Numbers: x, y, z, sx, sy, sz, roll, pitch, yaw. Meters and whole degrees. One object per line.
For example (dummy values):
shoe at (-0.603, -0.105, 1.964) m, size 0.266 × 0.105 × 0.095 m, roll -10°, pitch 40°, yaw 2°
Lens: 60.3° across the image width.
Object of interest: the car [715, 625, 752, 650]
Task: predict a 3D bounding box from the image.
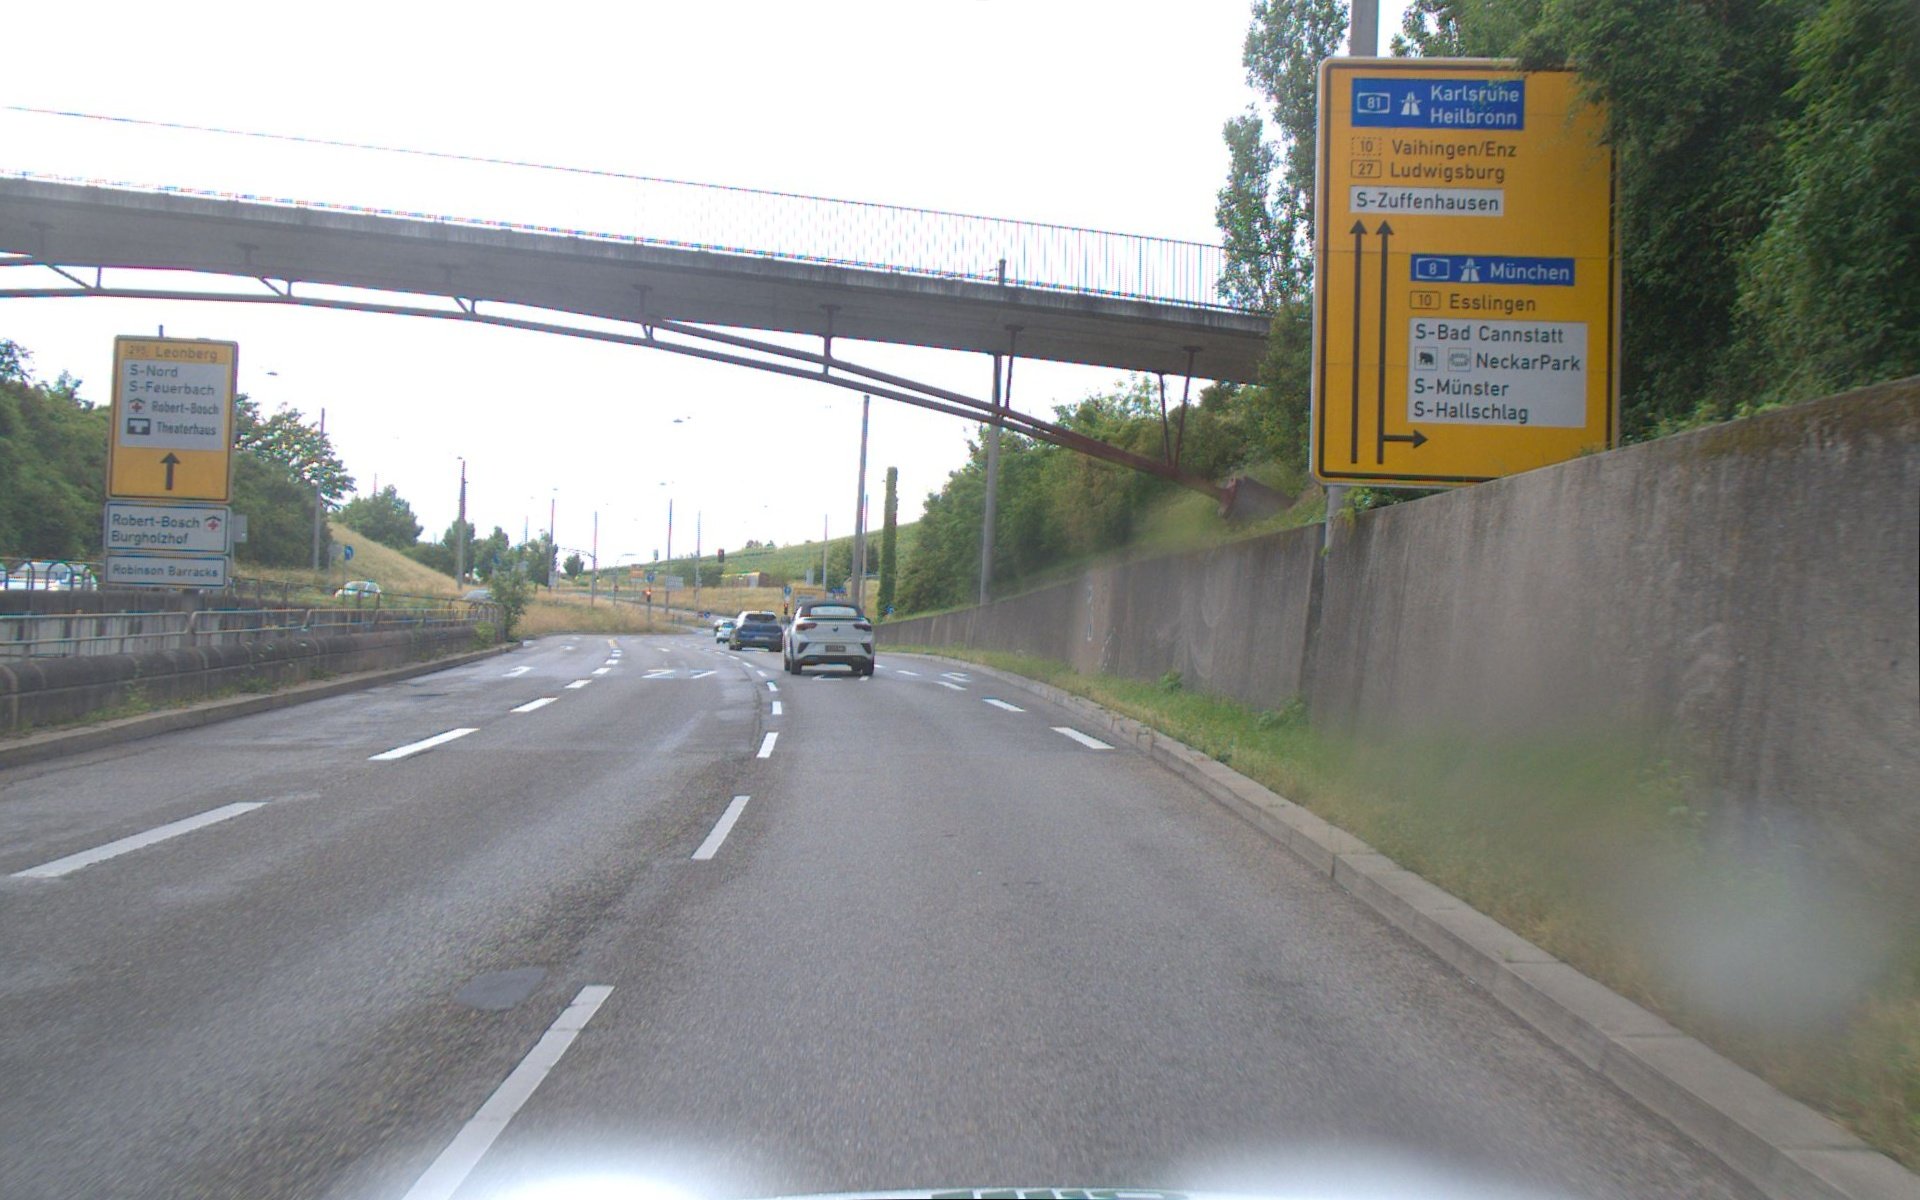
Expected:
car at (-15.787, 2.608, 115.436) m, size 1.738 × 1.545 × 3.725 m, roll 4°, pitch -2°, yaw 3°

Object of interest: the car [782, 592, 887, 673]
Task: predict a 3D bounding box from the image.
car at (-2.781, 0.654, 35.859) m, size 1.959 × 1.606 × 4.117 m, roll 0°, pitch 1°, yaw -9°

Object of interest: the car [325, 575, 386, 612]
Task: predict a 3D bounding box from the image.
car at (-34.203, -0.338, 93.768) m, size 1.954 × 1.867 × 4.626 m, roll 2°, pitch -1°, yaw -4°

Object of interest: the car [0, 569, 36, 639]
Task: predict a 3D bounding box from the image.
car at (-27.432, 0.108, 45.971) m, size 1.641 × 1.949 × 4.547 m, roll 0°, pitch -1°, yaw -10°

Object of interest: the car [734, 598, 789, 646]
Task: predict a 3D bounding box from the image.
car at (-7.442, 0.847, 61.751) m, size 1.890 × 1.627 × 4.053 m, roll 3°, pitch -3°, yaw -8°
